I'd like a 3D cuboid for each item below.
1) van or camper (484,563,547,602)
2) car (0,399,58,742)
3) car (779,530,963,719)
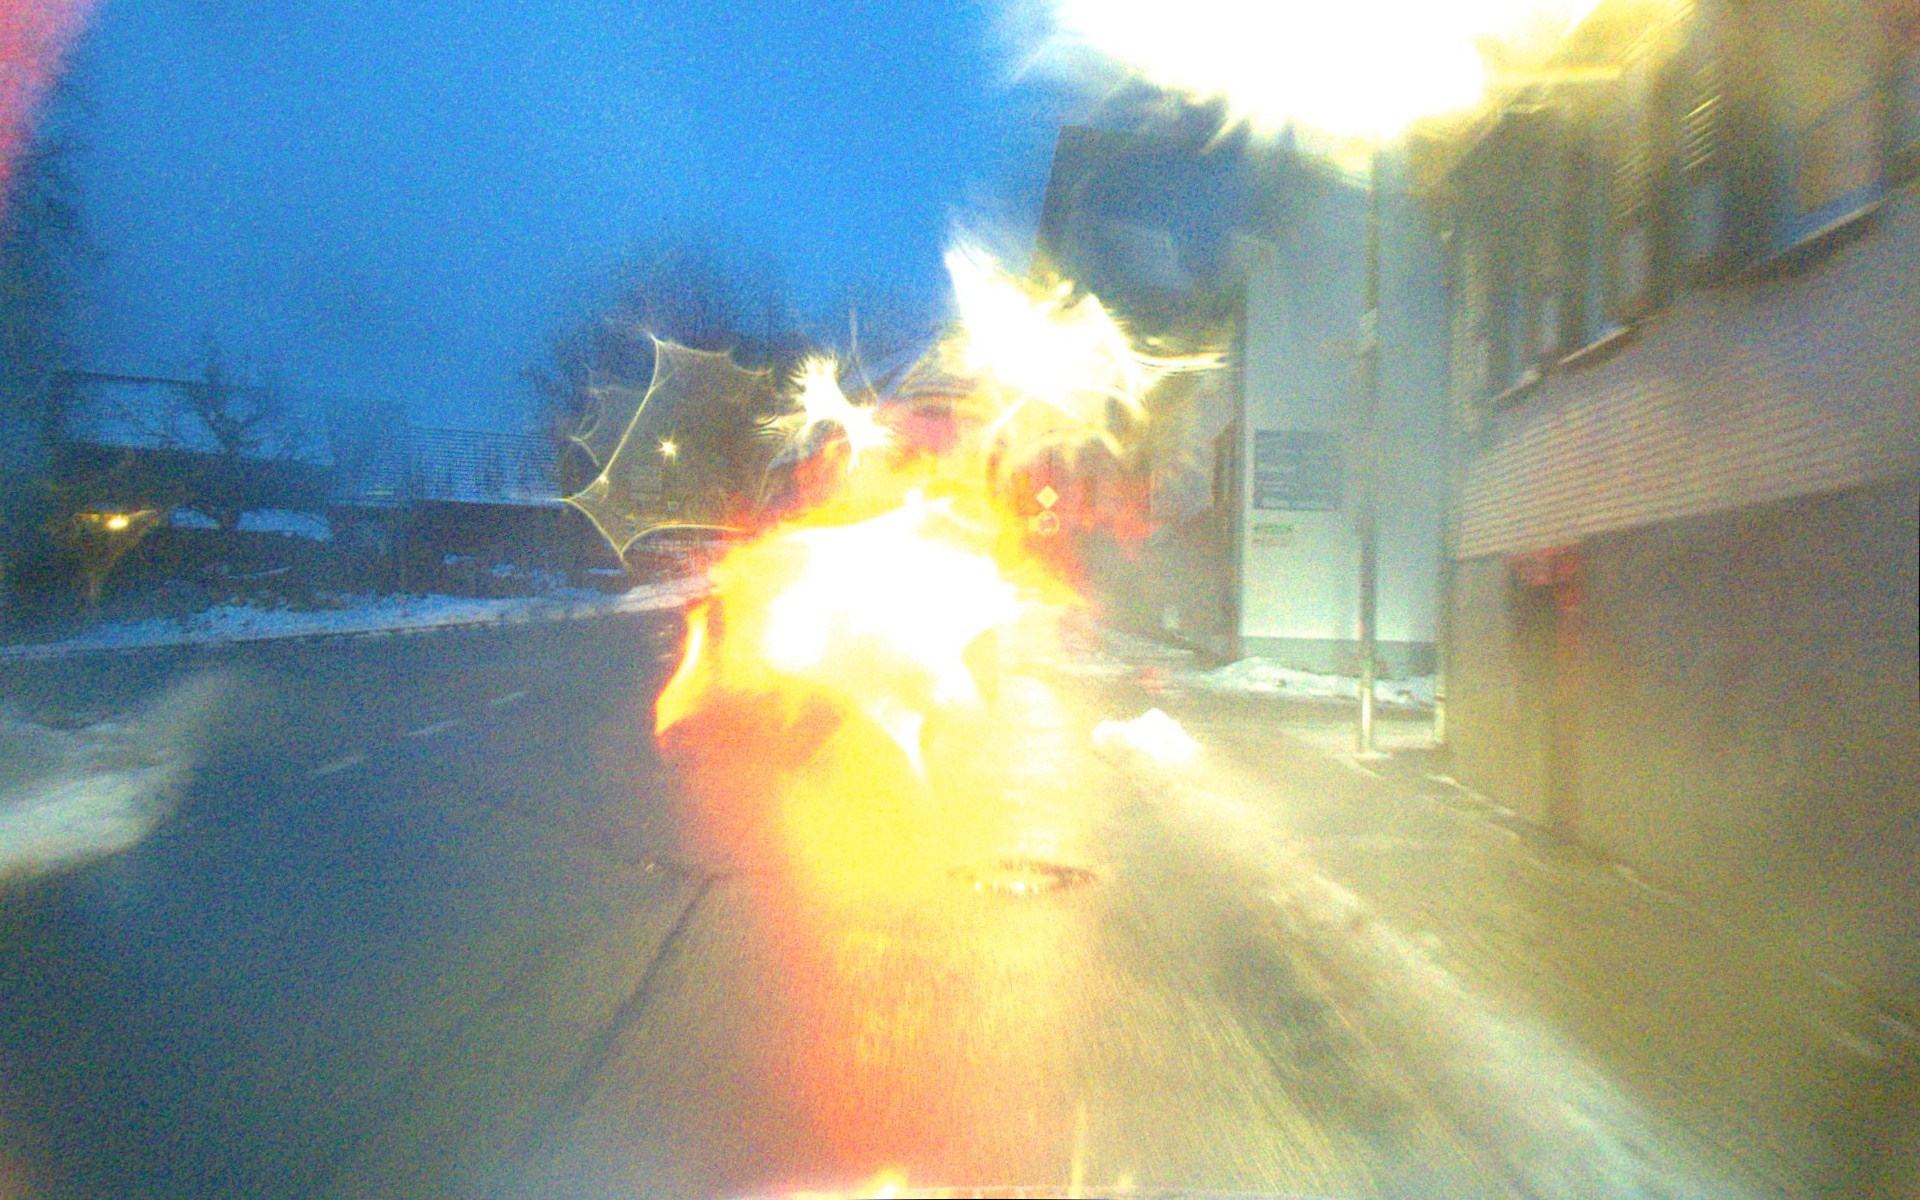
[{"bbox_3d":[-13.964,-0.521,51.837,1.267,1.121,3.244,2,-1,-27],"label":"van or camper"},{"bbox_3d":[-10.009,-0.181,11.953,6.037,2.598,1.978,-1,0,-32],"label":"car"},{"bbox_3d":[-0.924,0.203,18.085,1.785,1.828,3.577,-1,1,-2],"label":"car"}]
